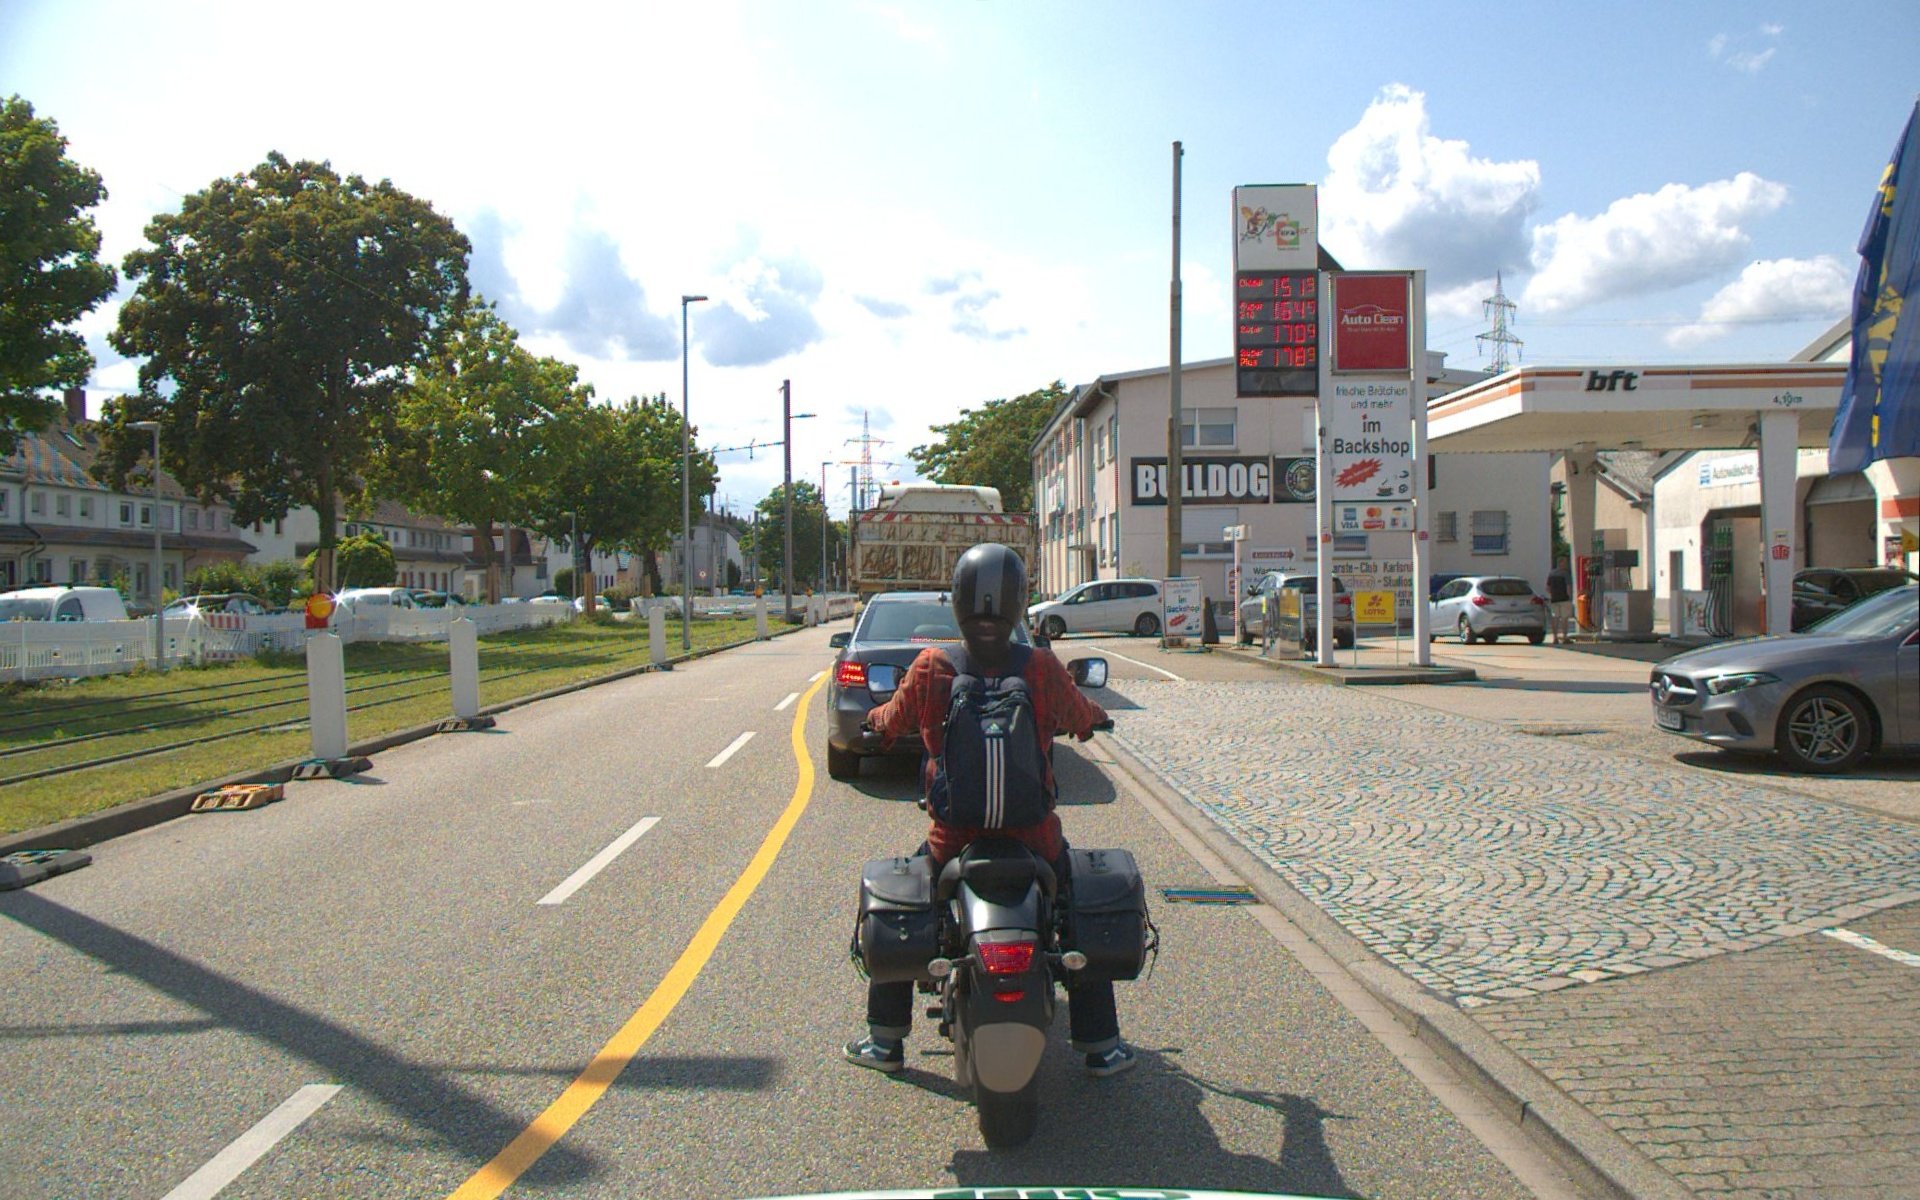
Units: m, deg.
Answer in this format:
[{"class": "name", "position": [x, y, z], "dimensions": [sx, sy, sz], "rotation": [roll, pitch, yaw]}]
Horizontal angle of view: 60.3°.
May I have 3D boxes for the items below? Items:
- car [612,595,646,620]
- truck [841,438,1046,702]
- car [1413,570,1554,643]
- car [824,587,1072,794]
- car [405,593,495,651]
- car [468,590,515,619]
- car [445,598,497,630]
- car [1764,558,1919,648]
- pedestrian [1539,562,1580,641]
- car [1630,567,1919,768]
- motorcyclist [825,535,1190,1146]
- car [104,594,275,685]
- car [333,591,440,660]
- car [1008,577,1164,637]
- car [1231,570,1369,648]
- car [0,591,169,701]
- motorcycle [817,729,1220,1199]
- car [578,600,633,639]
[{"class": "car", "position": [-24.967, 0.545, 124.847], "dimensions": [1.740, 1.753, 4.127], "rotation": [-1, 0, -1]}, {"class": "truck", "position": [-0.263, -0.423, 25.361], "dimensions": [2.585, 3.354, 8.055], "rotation": [-1, 0, -1]}, {"class": "car", "position": [11.721, 0.119, 37.263], "dimensions": [1.770, 1.529, 3.831], "rotation": [-1, 0, -3]}, {"class": "car", "position": [-0.117, 0.651, 14.104], "dimensions": [1.786, 1.478, 3.999], "rotation": [1, 0, -1]}, {"class": "car", "position": [-16.973, 0.699, 55.256], "dimensions": [1.740, 1.837, 4.127], "rotation": [-1, 0, -1]}, {"class": "car", "position": [-29.428, 0.273, 103.947], "dimensions": [1.740, 1.753, 4.127], "rotation": [-1, 0, -1]}, {"class": "car", "position": [-28.301, 0.777, 95.830], "dimensions": [1.740, 1.753, 4.127], "rotation": [-1, 0, -1]}, {"class": "car", "position": [16.618, 0.025, 30.318], "dimensions": [1.770, 1.529, 3.832], "rotation": [-1, 0, -3]}, {"class": "pedestrian", "position": [12.953, 0.030, 35.709], "dimensions": [0.696, 1.685, 0.546], "rotation": [-1, 0, 35]}, {"class": "car", "position": [7.614, 0.459, 12.797], "dimensions": [4.183, 1.440, 1.675], "rotation": [-1, 0, 3]}, {"class": "motorcyclist", "position": [0.122, 0.643, 5.014], "dimensions": [0.959, 1.630, 1.087], "rotation": [-1, 0, -1]}, {"class": "car", "position": [-16.674, 0.797, 36.021], "dimensions": [1.740, 1.805, 4.227], "rotation": [-1, 0, -1]}, {"class": "car", "position": [-16.941, 0.715, 49.078], "dimensions": [1.740, 1.900, 4.127], "rotation": [-1, 0, -1]}, {"class": "car", "position": [3.577, 0.184, 47.083], "dimensions": [4.152, 1.570, 1.669], "rotation": [-1, 0, -9]}, {"class": "car", "position": [7.457, 0.175, 36.627], "dimensions": [1.636, 1.589, 4.236], "rotation": [-1, 0, -8]}, {"class": "car", "position": [-16.454, 0.784, 30.384], "dimensions": [1.740, 1.853, 4.363], "rotation": [-1, 0, -1]}, {"class": "motorcycle", "position": [0.124, 0.997, 5.320], "dimensions": [0.959, 0.913, 2.653], "rotation": [-1, 0, -1]}, {"class": "car", "position": [-17.057, 0.908, 79.681], "dimensions": [1.740, 1.753, 4.127], "rotation": [-1, 0, -1]}]
